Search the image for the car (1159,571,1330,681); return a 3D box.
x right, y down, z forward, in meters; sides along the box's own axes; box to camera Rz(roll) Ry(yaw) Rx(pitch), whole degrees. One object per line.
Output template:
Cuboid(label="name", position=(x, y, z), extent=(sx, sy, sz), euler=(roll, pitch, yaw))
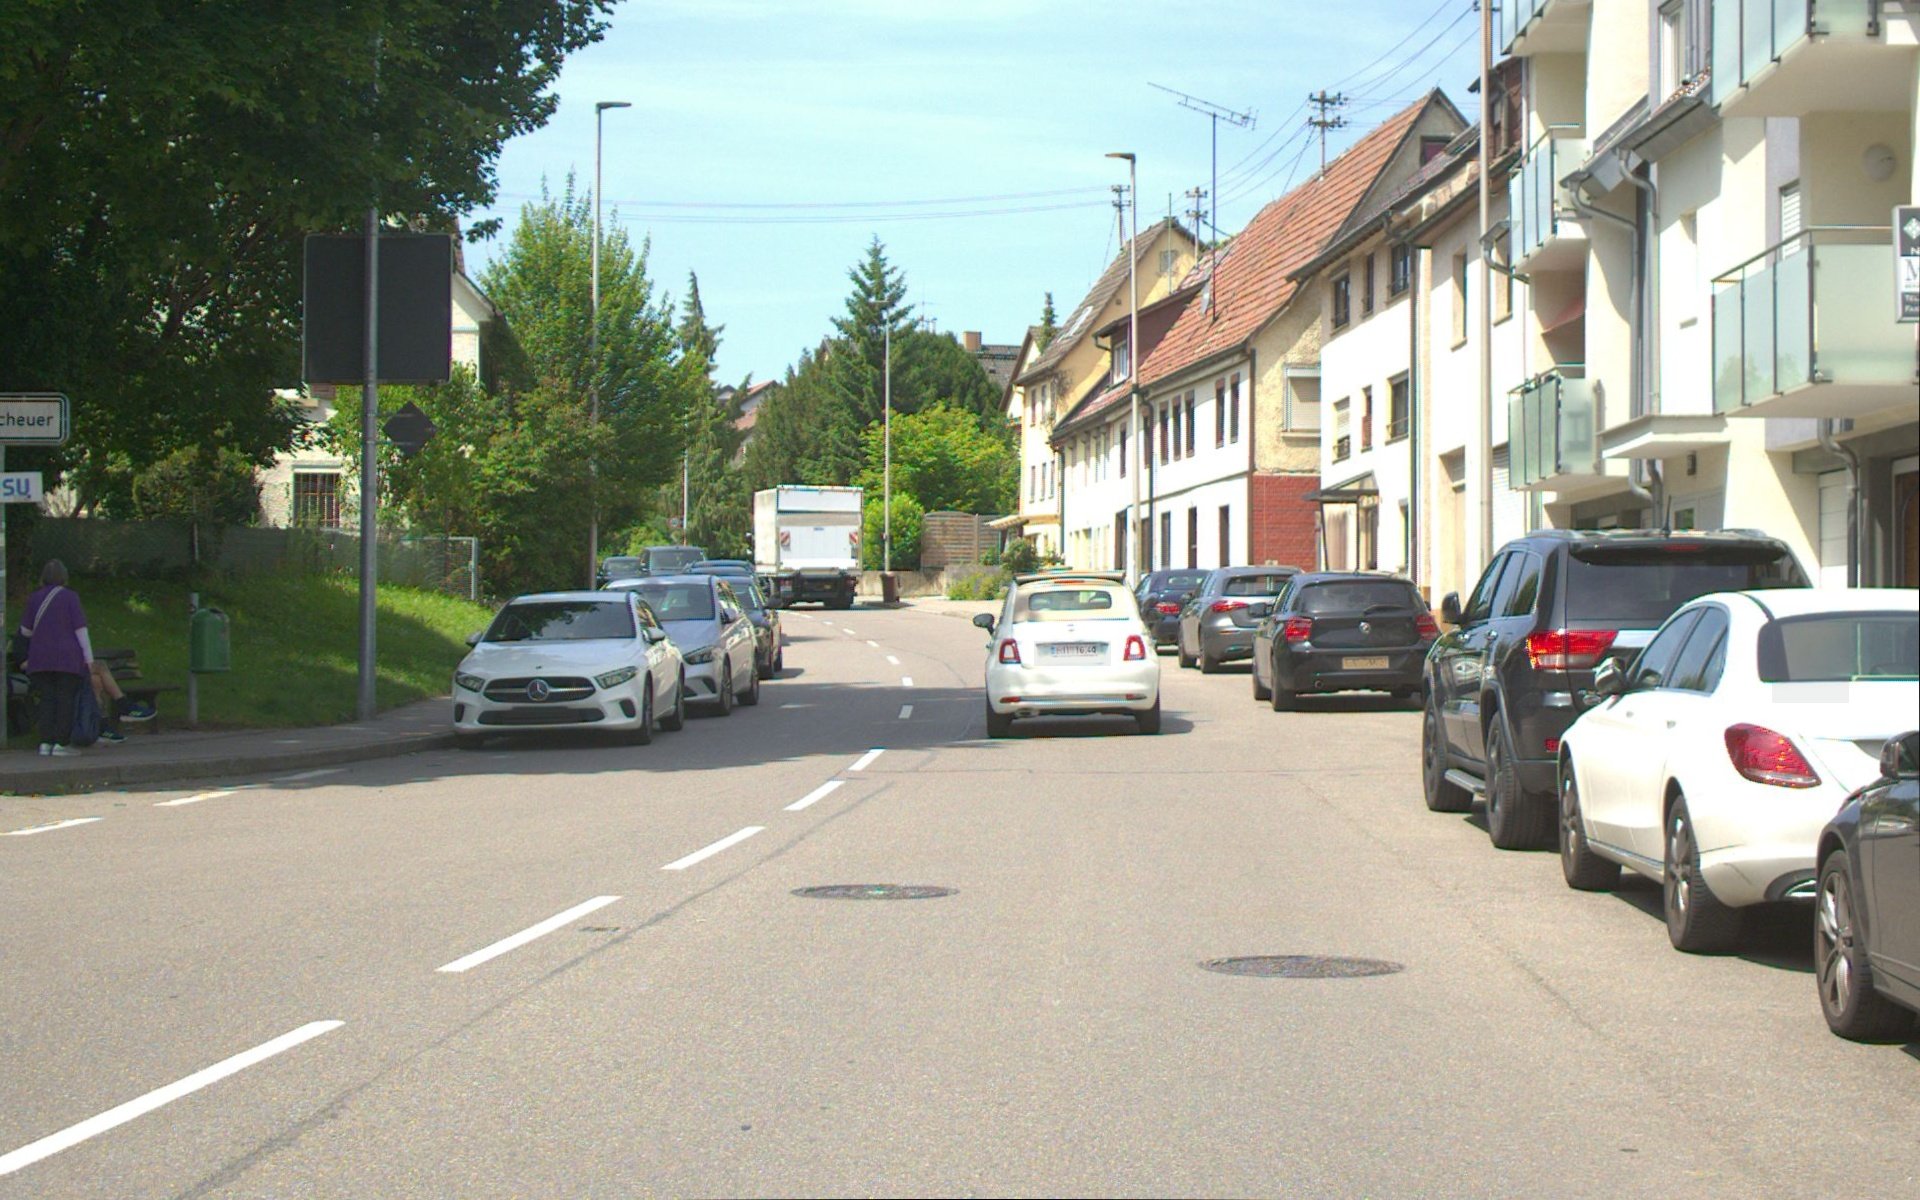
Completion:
Cuboid(label="car", position=(3.852, 0.321, 47.239), extent=(1.793, 1.398, 4.412), euler=(-1, 1, -2))

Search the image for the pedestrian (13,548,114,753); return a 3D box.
Cuboid(label="pedestrian", position=(-7.180, 0.403, 27.552), extent=(0.730, 1.611, 0.629), euler=(1, 0, -14))

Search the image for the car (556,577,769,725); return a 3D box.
Cuboid(label="car", position=(-3.302, 0.535, 38.852), extent=(1.772, 1.522, 4.221), euler=(-1, 0, 3))

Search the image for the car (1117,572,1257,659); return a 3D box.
Cuboid(label="car", position=(3.670, 0.223, 56.200), extent=(1.665, 1.348, 4.188), euler=(0, 1, -5))

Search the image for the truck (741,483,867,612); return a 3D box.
Cuboid(label="truck", position=(-4.782, -1.524, 103.994), extent=(3.068, 3.761, 7.869), euler=(0, 0, -8))

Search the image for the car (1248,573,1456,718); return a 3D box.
Cuboid(label="car", position=(4.083, 0.451, 36.397), extent=(1.797, 1.420, 4.290), euler=(-1, 0, 1))

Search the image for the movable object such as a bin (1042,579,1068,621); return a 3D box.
Cuboid(label="movable object such as a bin", position=(2.428, -0.008, 88.000), extent=(0.546, 1.030, 0.551), euler=(-3, 1, -6))

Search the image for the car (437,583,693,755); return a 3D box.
Cuboid(label="car", position=(-3.667, 0.600, 32.622), extent=(1.755, 1.462, 4.362), euler=(-2, 0, 2))

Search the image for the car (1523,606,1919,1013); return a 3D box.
Cuboid(label="car", position=(3.723, 0.775, 15.020), extent=(1.789, 1.450, 4.716), euler=(0, 0, 1))

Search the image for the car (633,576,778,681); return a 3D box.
Cuboid(label="car", position=(-3.693, 0.388, 50.613), extent=(1.804, 1.419, 4.928), euler=(-1, 1, -1))

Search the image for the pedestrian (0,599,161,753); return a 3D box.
Cuboid(label="pedestrian", position=(-7.553, 0.643, 29.364), extent=(1.236, 1.265, 0.646), euler=(2, 0, 7))

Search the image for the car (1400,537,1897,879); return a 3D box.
Cuboid(label="car", position=(3.875, 0.540, 20.205), extent=(1.953, 1.710, 4.716), euler=(2, 0, 1))

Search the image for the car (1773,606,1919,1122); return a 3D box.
Cuboid(label="car", position=(3.581, 0.750, 9.663), extent=(1.789, 1.415, 4.357), euler=(0, 0, 3))

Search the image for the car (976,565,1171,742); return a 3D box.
Cuboid(label="car", position=(1.101, 0.472, 33.065), extent=(1.725, 1.555, 4.000), euler=(-1, 0, 2))
